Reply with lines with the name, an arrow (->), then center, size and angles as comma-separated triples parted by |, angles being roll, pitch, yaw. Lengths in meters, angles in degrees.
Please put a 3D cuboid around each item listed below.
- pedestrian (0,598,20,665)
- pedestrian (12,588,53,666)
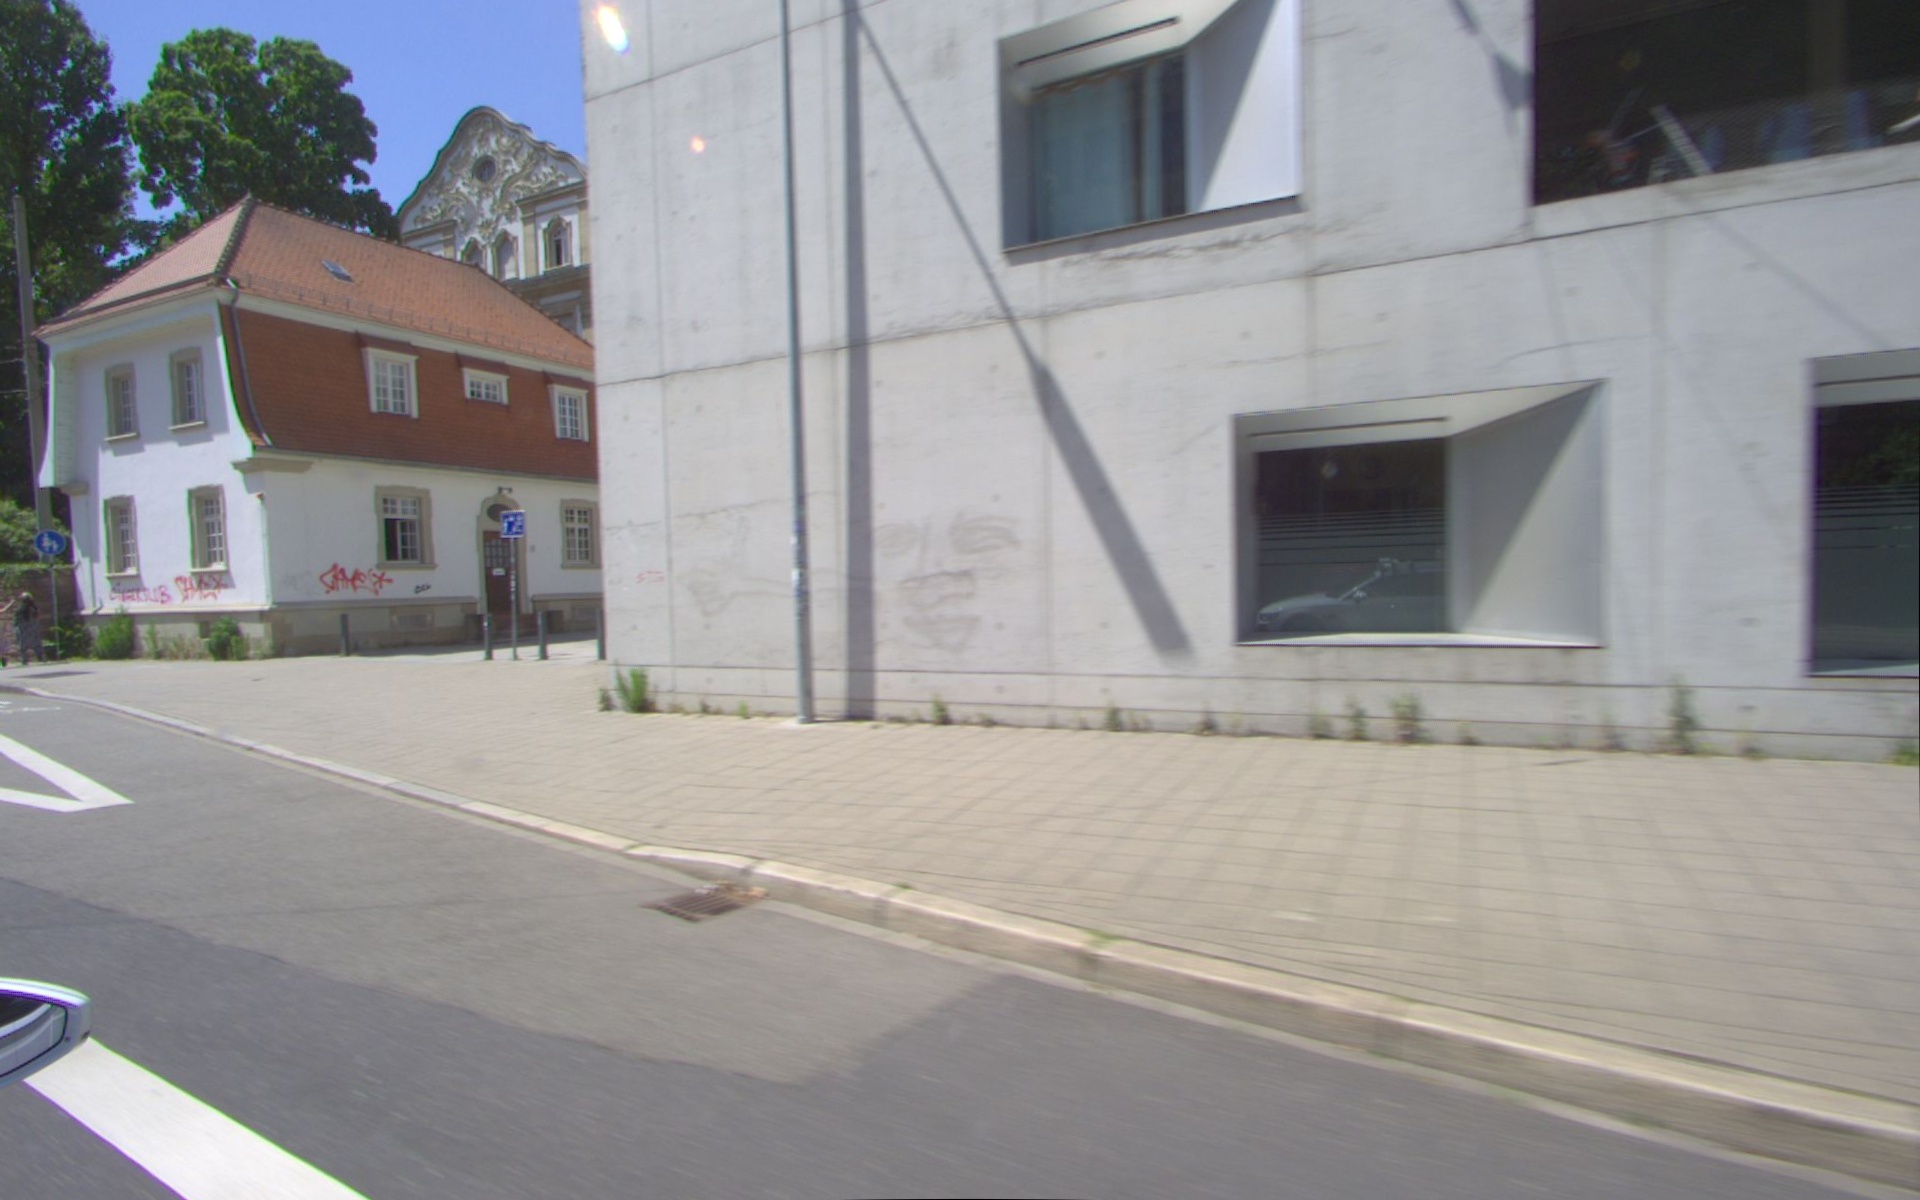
pedestrian -> -22.508, 0.736, 23.471 | 0.589, 1.554, 0.514 | 0, 2, 32
pedestrian -> -22.243, 0.660, 24.031 | 0.622, 1.792, 0.714 | 2, -9, -40
